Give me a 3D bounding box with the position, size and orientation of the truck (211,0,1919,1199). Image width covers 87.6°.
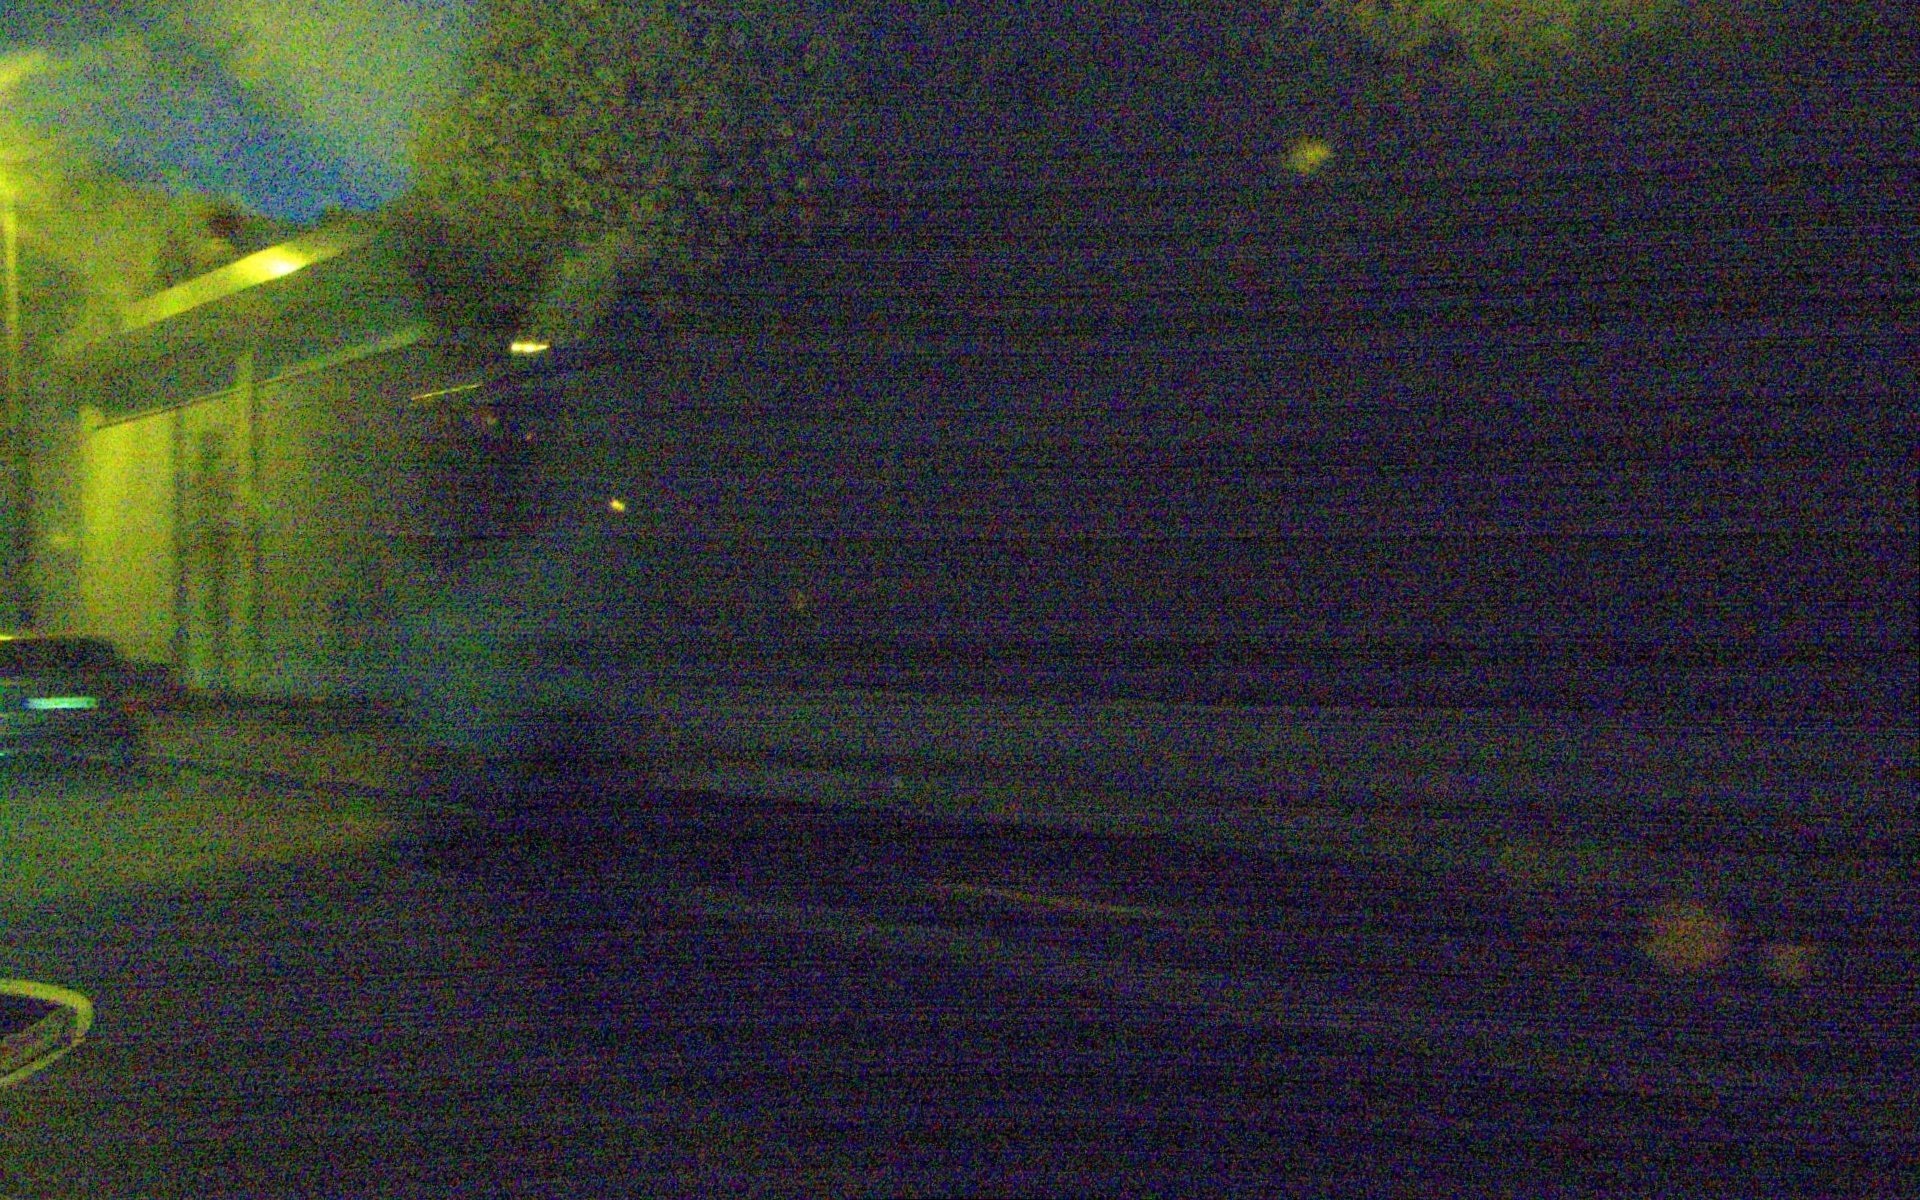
[{"bbox_3d":[1.722,-0.527,3.724,10.190,4.036,3.514,-1,0,31],"label":"truck"}]

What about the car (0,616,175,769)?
[{"bbox_3d":[-11.197,1.011,11.831,3.764,1.539,1.848,-1,0,32],"label":"car"}]
